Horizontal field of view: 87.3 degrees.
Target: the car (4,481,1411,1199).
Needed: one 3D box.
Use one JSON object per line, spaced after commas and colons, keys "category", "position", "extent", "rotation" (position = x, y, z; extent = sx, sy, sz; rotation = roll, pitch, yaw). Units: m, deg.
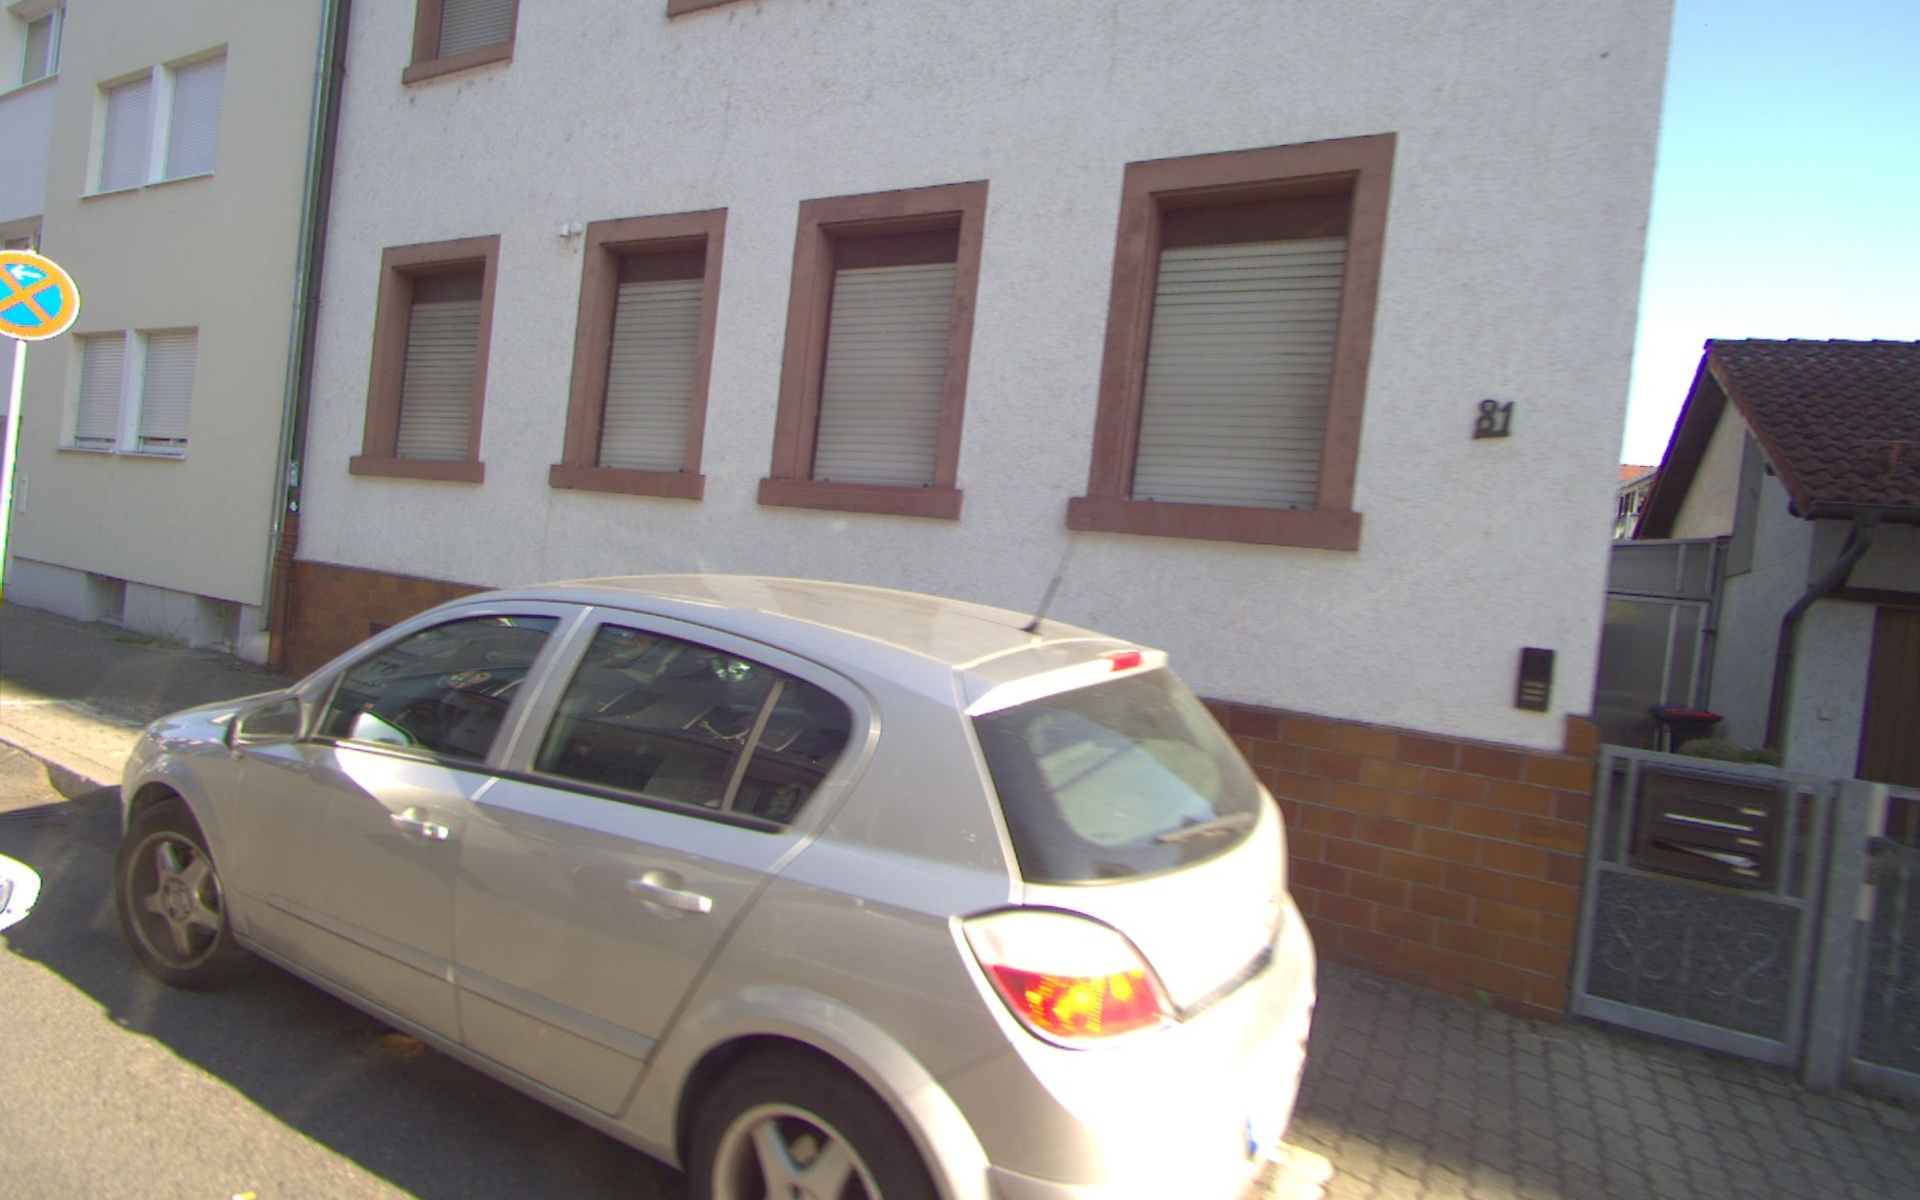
{"category": "car", "position": [-1.062, 0.589, 3.281], "extent": [4.363, 1.511, 1.743], "rotation": [7, 2, 29]}
